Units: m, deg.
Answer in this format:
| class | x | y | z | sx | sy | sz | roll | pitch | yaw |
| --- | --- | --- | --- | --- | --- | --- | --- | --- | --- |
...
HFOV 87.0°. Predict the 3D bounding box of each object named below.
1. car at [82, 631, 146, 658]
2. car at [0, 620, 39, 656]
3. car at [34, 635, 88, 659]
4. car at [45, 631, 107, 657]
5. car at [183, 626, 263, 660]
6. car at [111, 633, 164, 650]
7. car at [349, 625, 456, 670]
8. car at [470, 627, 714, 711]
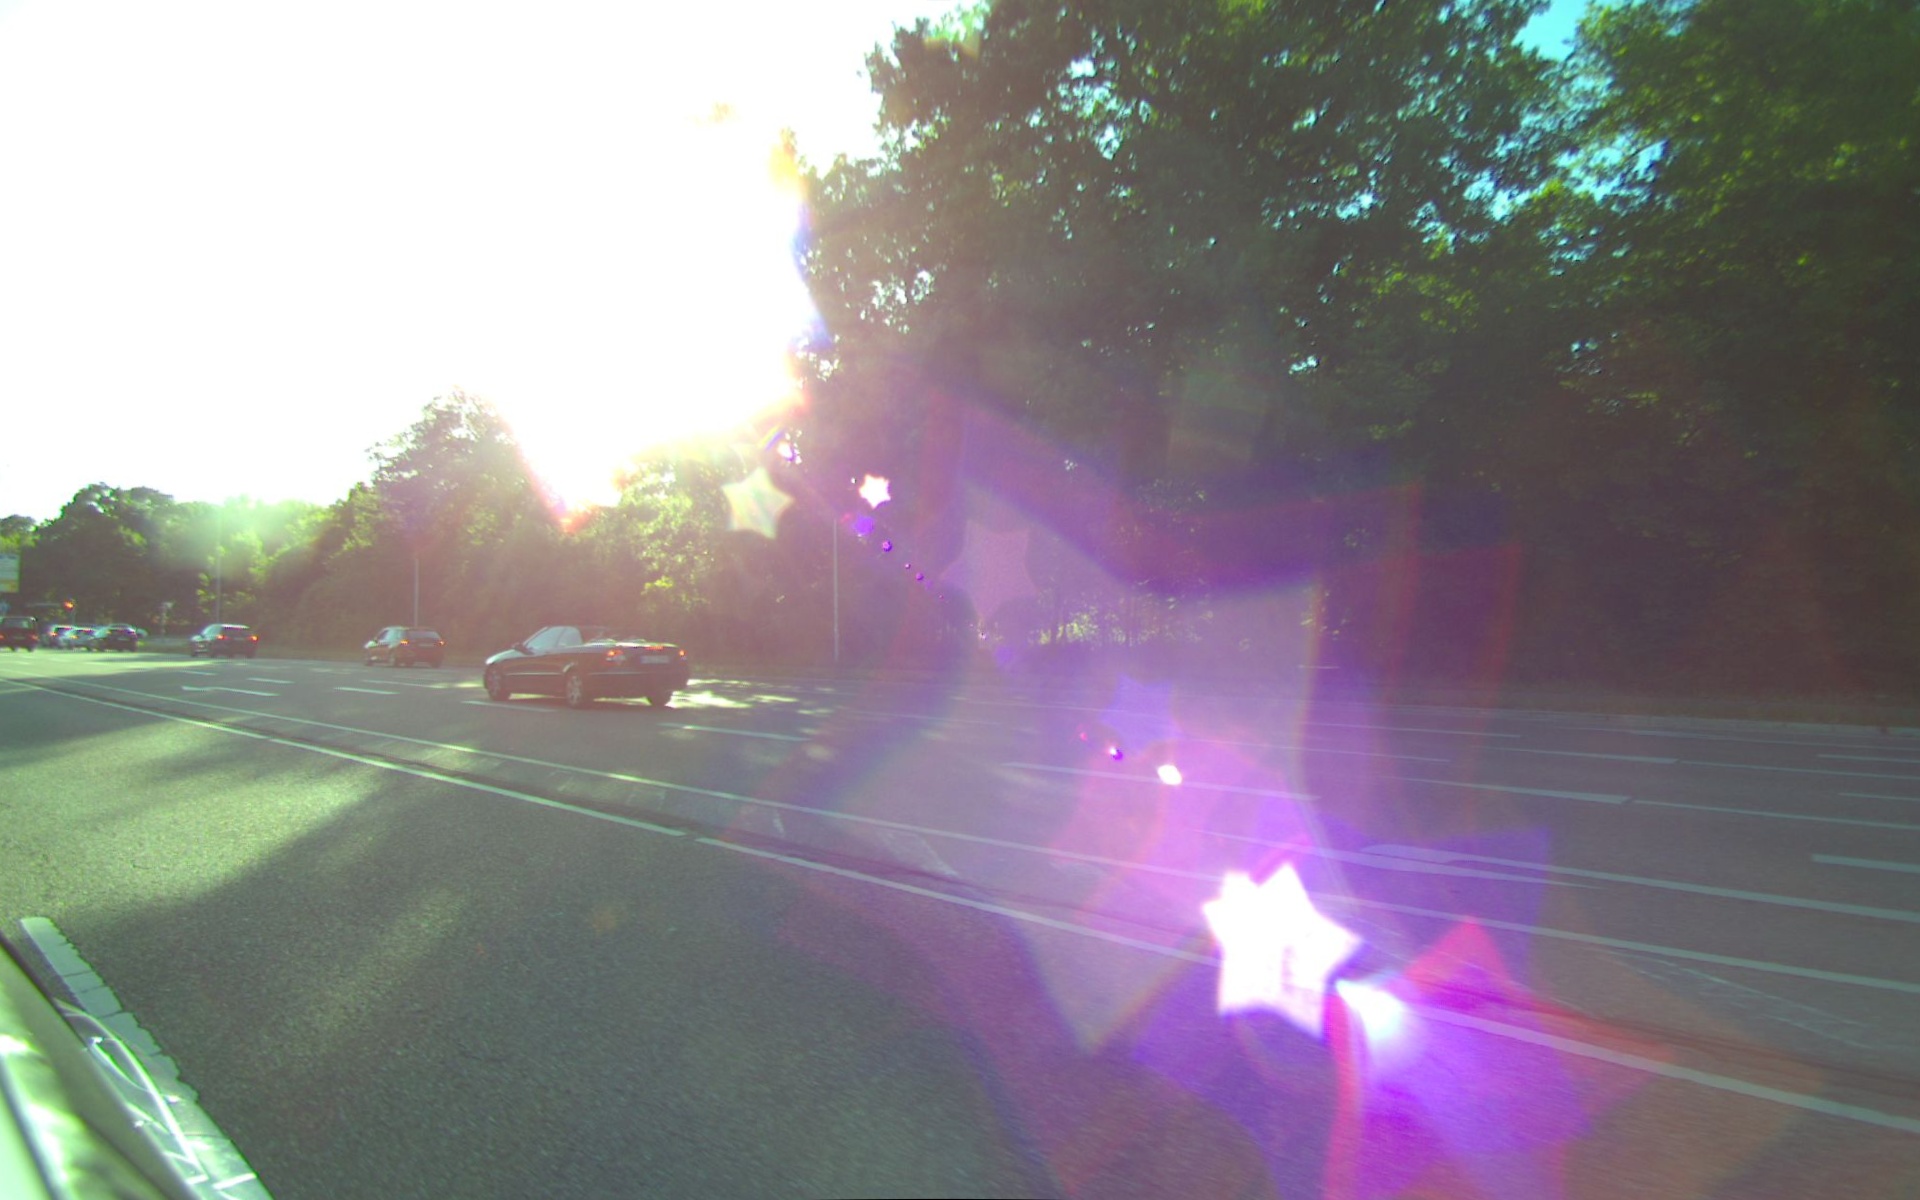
| class | x | y | z | sx | sy | sz | roll | pitch | yaw |
| --- | --- | --- | --- | --- | --- | --- | --- | --- | --- |
| car | -52.349 | 2.748 | 62.578 | 4.640 | 1.576 | 1.975 | -1 | -5 | 37 |
| car | -54.058 | 2.131 | 57.152 | 4.636 | 1.977 | 1.977 | -1 | -3 | 35 |
| car | -64.157 | 3.328 | 72.213 | 4.640 | 1.576 | 1.975 | -1 | -5 | 37 |
| car | -59.063 | 2.917 | 67.611 | 4.637 | 1.576 | 1.976 | -1 | -5 | 35 |
| car | -37.616 | 2.186 | 51.627 | 4.835 | 1.649 | 1.975 | -1 | -2 | 37 |
| car | -74.856 | 3.752 | 92.176 | 1.966 | 1.462 | 4.660 | 1 | -2 | -14 |
| car | -20.651 | 1.718 | 37.422 | 4.333 | 1.576 | 1.974 | -1 | -2 | 39 |
| car | -6.308 | 1.087 | 17.098 | 4.668 | 1.243 | 1.727 | -1 | -2 | 39 |
